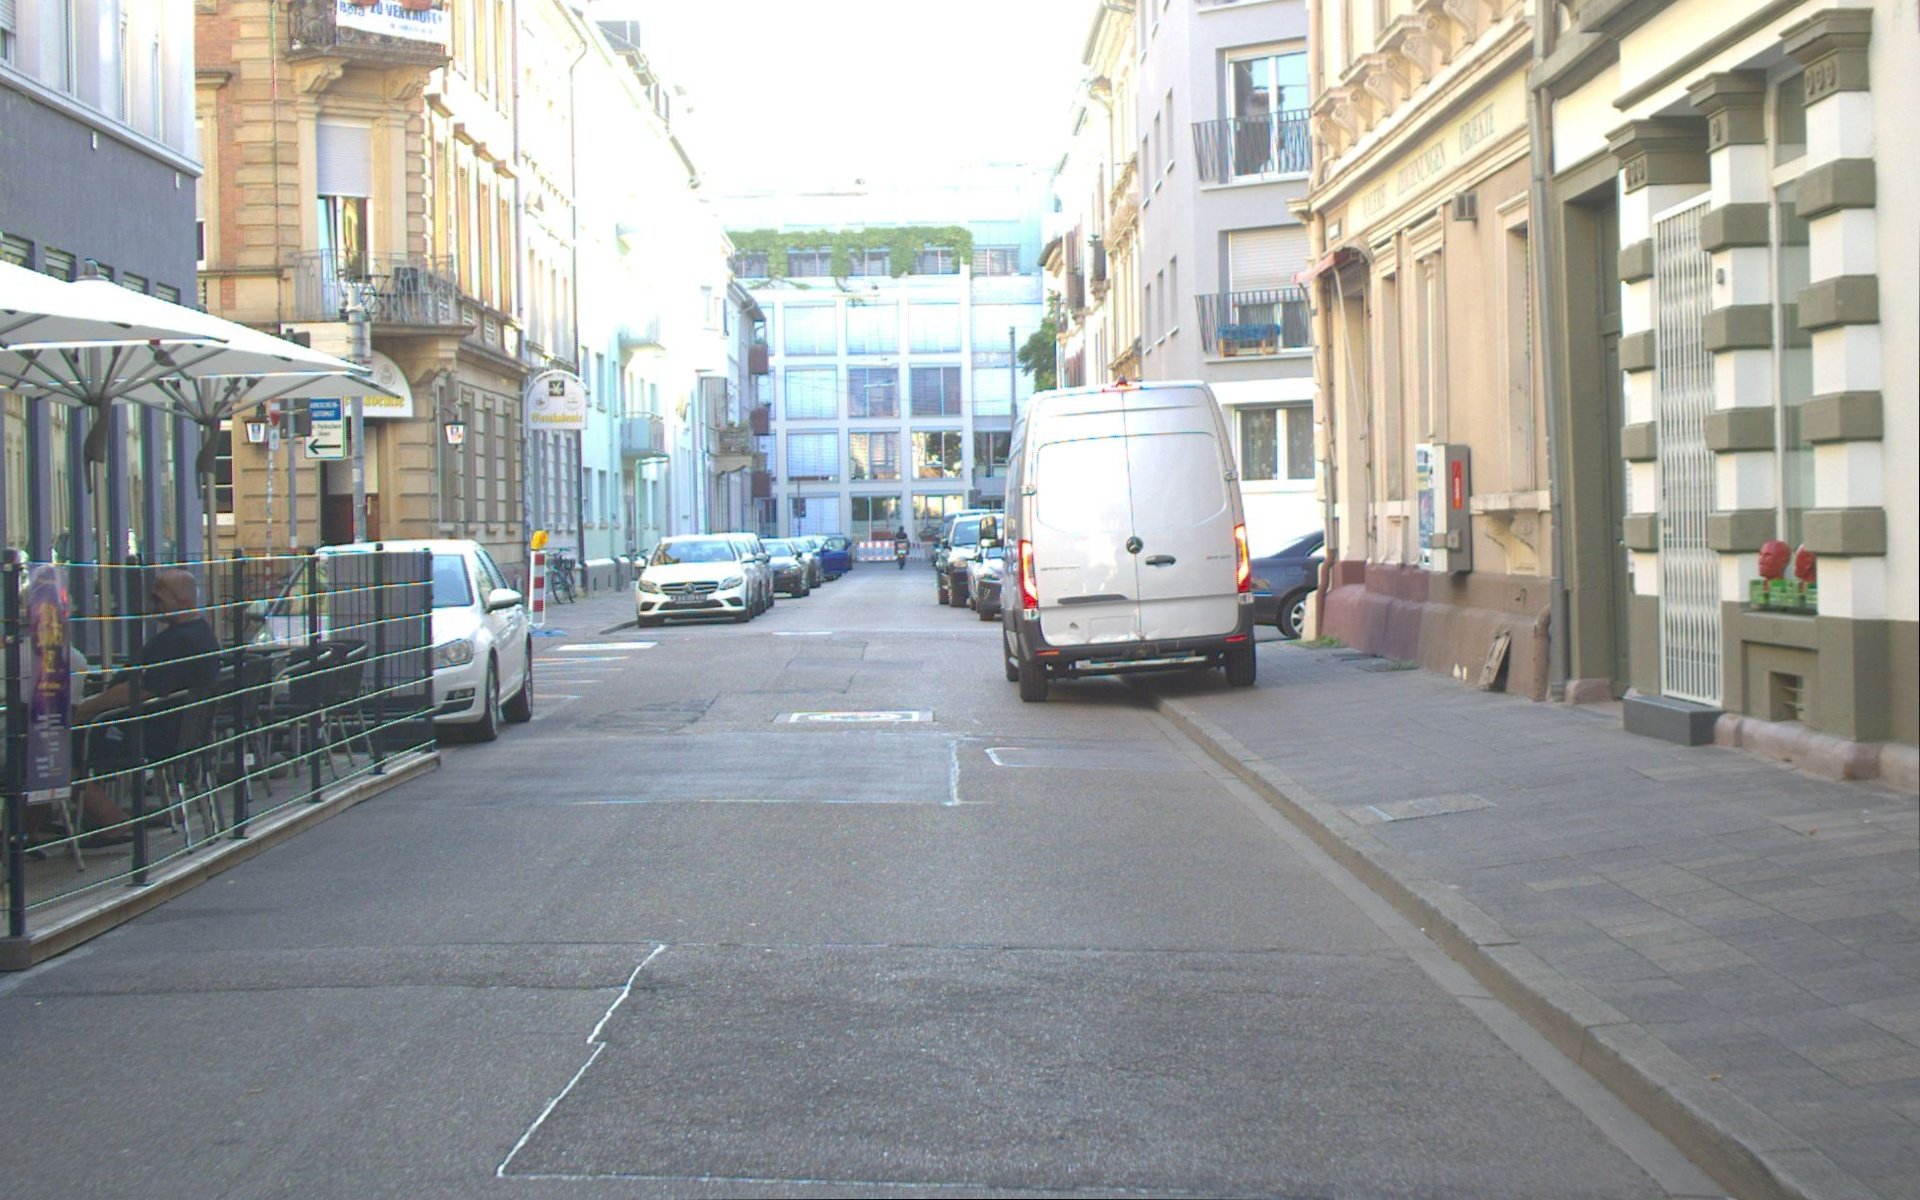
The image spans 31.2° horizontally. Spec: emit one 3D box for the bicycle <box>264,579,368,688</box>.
[{"bbox_3d":[-5.705,0.285,30.535,0.596,0.902,1.644,-1,1,0],"label":"bicycle"}]

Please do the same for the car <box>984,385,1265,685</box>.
[{"bbox_3d":[1.378,-0.612,31.410,2.277,2.431,6.204,-1,1,0],"label":"car"}]

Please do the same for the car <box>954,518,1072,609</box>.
[{"bbox_3d":[0.931,-0.680,62.035,1.963,1.552,3.889,-1,1,-1],"label":"car"}]

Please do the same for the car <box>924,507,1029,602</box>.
[{"bbox_3d":[0.301,-0.918,67.447,1.893,1.778,4.001,-1,1,-2],"label":"car"}]

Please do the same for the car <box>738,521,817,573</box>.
[{"bbox_3d":[-5.176,-1.513,97.696,2.172,1.413,4.001,-1,1,-3],"label":"car"}]

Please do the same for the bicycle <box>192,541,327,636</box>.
[{"bbox_3d":[-9.868,-0.166,48.455,1.757,1.270,0.661,-1,4,-4],"label":"bicycle"}]

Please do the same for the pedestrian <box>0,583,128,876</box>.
[{"bbox_3d":[-3.941,0.524,14.282,0.553,1.161,0.740,-1,2,32],"label":"pedestrian"}]

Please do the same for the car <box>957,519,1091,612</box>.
[{"bbox_3d":[1.002,-0.585,55.965,1.938,1.367,3.789,-3,1,-2],"label":"car"}]

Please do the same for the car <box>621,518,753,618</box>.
[{"bbox_3d":[-4.479,-0.562,57.056,1.993,1.559,4.507,-1,1,-2],"label":"car"}]

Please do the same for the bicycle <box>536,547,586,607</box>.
[{"bbox_3d":[-7.931,-0.471,68.398,0.737,1.156,2.461,-1,1,-1],"label":"bicycle"}]

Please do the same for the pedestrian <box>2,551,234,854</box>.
[{"bbox_3d":[-3.743,0.439,15.341,0.781,1.282,0.915,-1,1,0],"label":"pedestrian"}]

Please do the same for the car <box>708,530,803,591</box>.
[{"bbox_3d":[-4.723,-0.936,79.931,1.993,1.350,4.429,-1,1,-1],"label":"car"}]

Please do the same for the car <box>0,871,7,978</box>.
[{"bbox_3d":[-4.133,0.616,9.333,1.881,1.563,4.772,-3,1,-3],"label":"car"}]

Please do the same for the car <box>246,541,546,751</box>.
[{"bbox_3d":[-4.104,0.281,25.534,1.657,1.409,3.883,-1,1,-2],"label":"car"}]
